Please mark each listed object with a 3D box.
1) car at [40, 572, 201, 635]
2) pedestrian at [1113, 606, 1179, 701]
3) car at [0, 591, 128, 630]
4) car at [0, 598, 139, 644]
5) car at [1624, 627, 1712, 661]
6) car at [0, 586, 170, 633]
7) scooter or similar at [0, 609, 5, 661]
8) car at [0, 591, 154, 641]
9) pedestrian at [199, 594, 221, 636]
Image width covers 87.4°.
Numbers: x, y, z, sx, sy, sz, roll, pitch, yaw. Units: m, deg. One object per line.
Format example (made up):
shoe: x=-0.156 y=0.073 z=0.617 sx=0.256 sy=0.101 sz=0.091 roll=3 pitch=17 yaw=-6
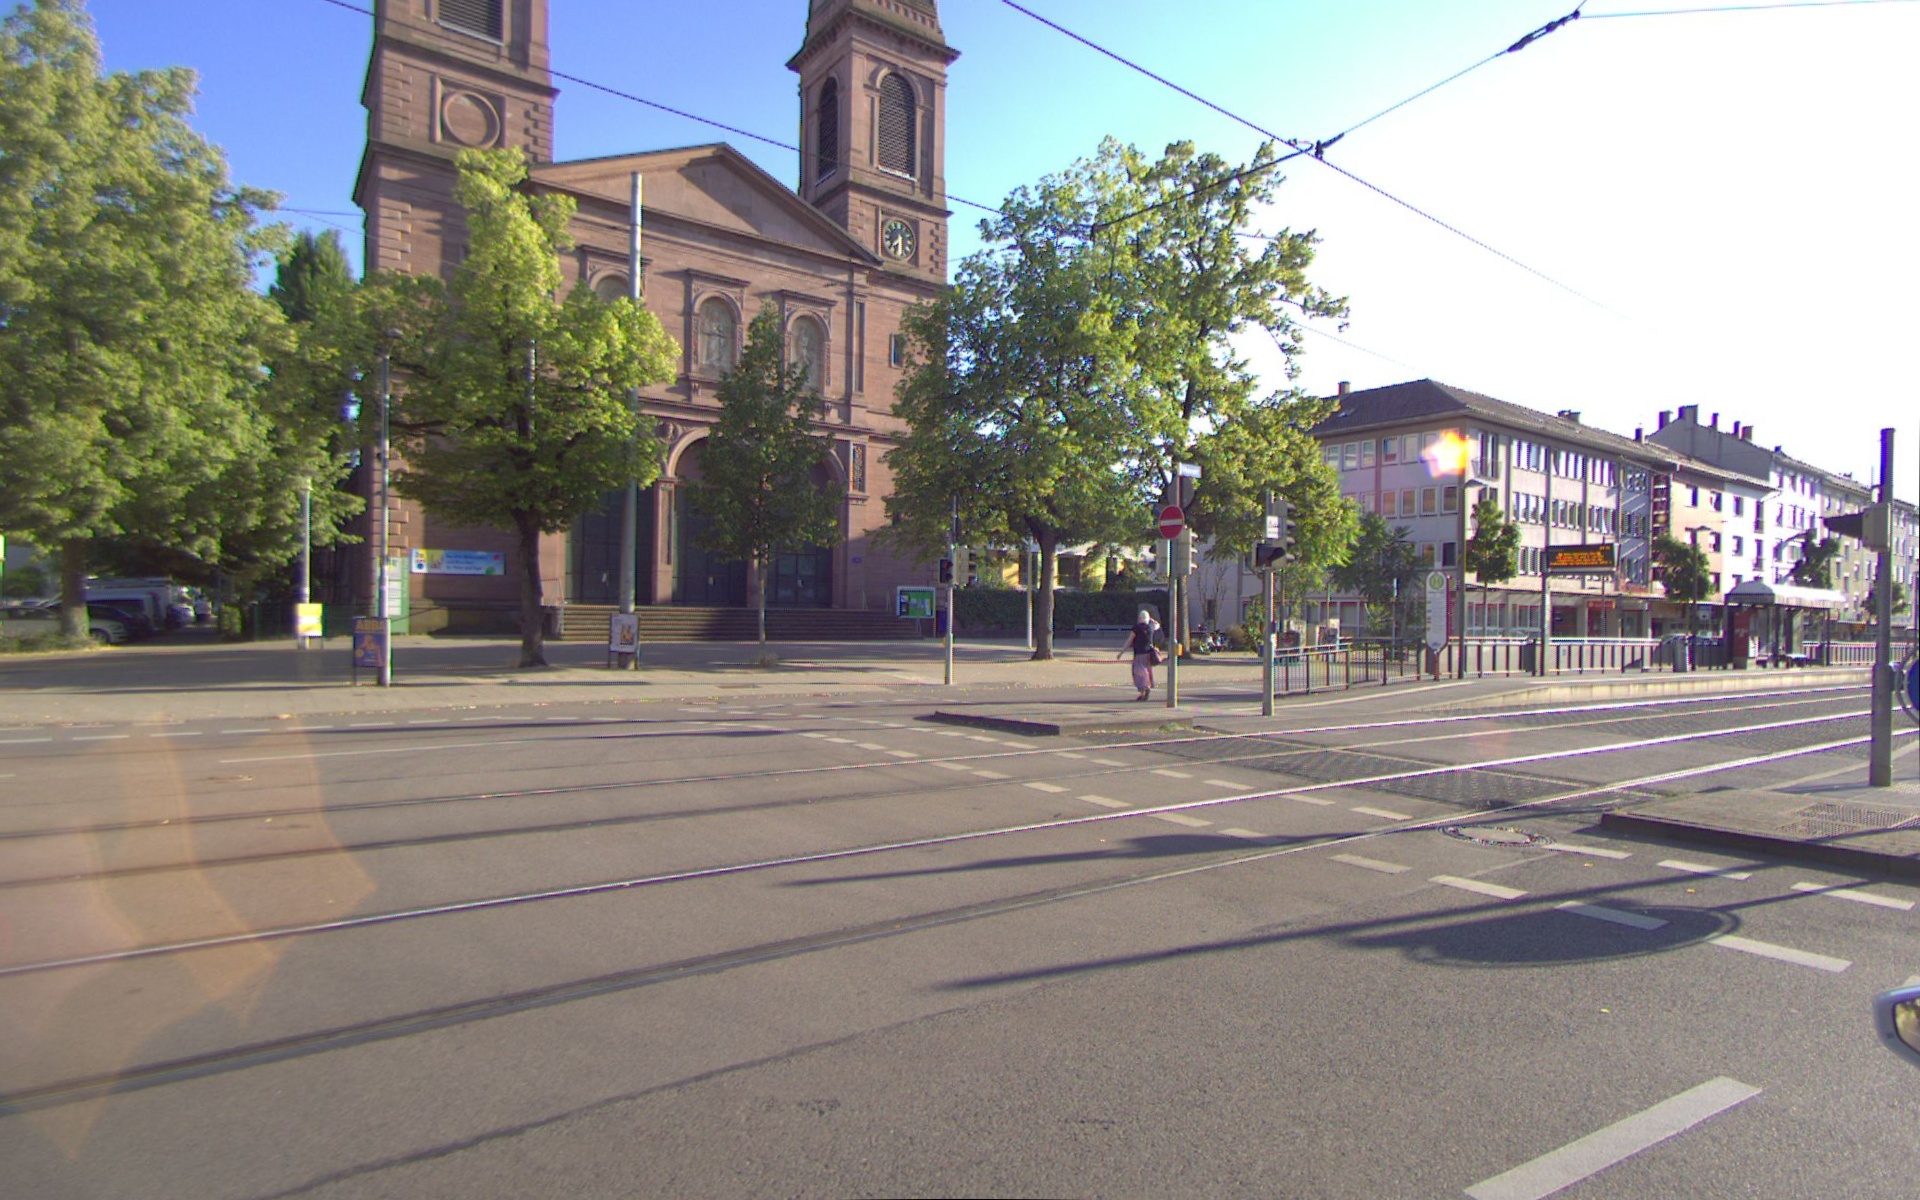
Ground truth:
car: x=-35.632 y=0.192 z=42.871 sx=5.063 sy=2.552 sz=1.980 roll=2 pitch=-1 yaw=-36
pedestrian: x=3.634 y=1.030 z=19.642 sx=0.823 sy=1.783 sz=0.913 roll=2 pitch=-1 yaw=-34
car: x=-49.009 y=0.588 z=54.779 sx=5.372 sy=2.040 sz=1.980 roll=2 pitch=-1 yaw=-36
car: x=-28.787 y=0.648 z=31.992 sx=3.960 sy=1.417 sz=1.799 roll=1 pitch=0 yaw=-36
car: x=38.128 y=2.370 z=54.148 sx=3.440 sy=1.702 sz=1.771 roll=1 pitch=0 yaw=2
car: x=-32.954 y=0.390 z=38.035 sx=4.664 sy=1.684 sz=1.980 roll=2 pitch=-1 yaw=-36
scooter or similar: x=-22.059 y=0.804 z=21.310 sx=2.423 sy=1.141 sz=1.086 roll=-1 pitch=1 yaw=-35
car: x=-30.087 y=0.557 z=34.208 sx=3.961 sy=1.639 sz=1.872 roll=2 pitch=-1 yaw=-35
pedestrian: x=-32.347 y=0.642 z=43.329 sx=0.686 sy=1.789 sz=0.732 roll=1 pitch=0 yaw=-36
